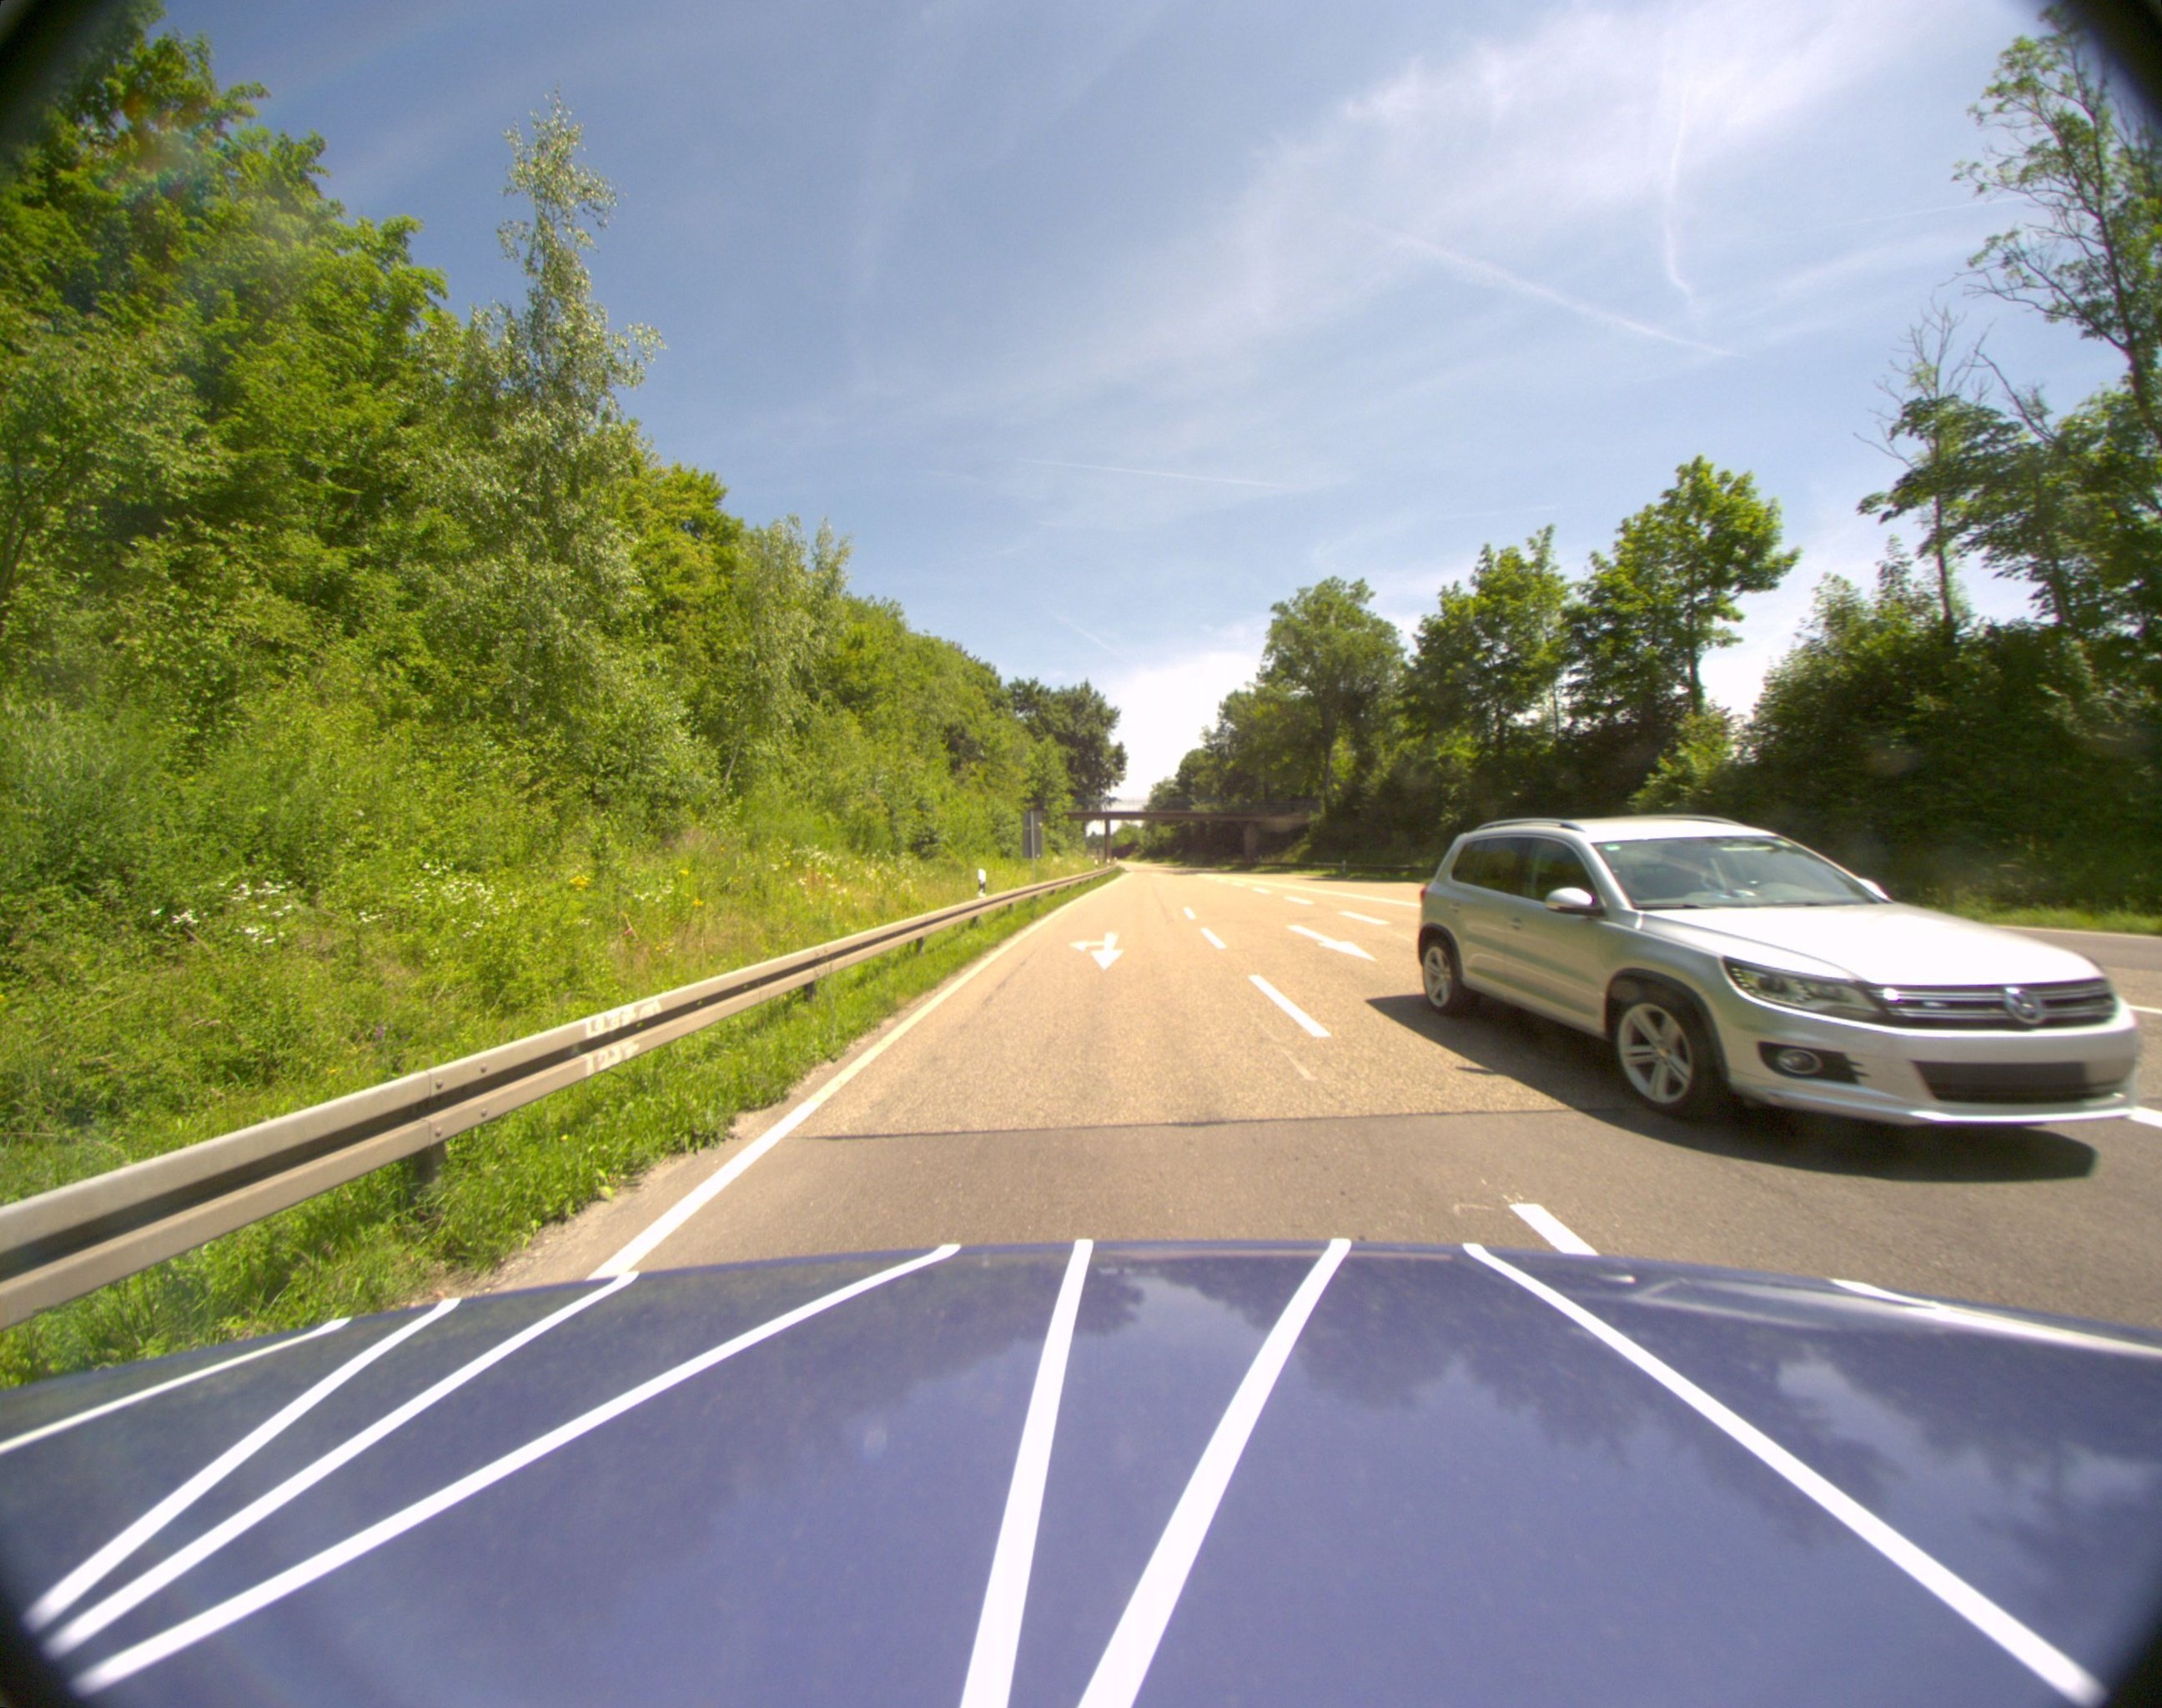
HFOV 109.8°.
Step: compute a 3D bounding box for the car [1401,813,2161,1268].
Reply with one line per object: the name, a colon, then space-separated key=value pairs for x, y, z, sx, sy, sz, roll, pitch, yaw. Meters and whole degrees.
car: x=3.918 y=0.696 z=4.992 sx=1.809 sy=1.660 sz=4.292 roll=-3 pitch=0 yaw=1
